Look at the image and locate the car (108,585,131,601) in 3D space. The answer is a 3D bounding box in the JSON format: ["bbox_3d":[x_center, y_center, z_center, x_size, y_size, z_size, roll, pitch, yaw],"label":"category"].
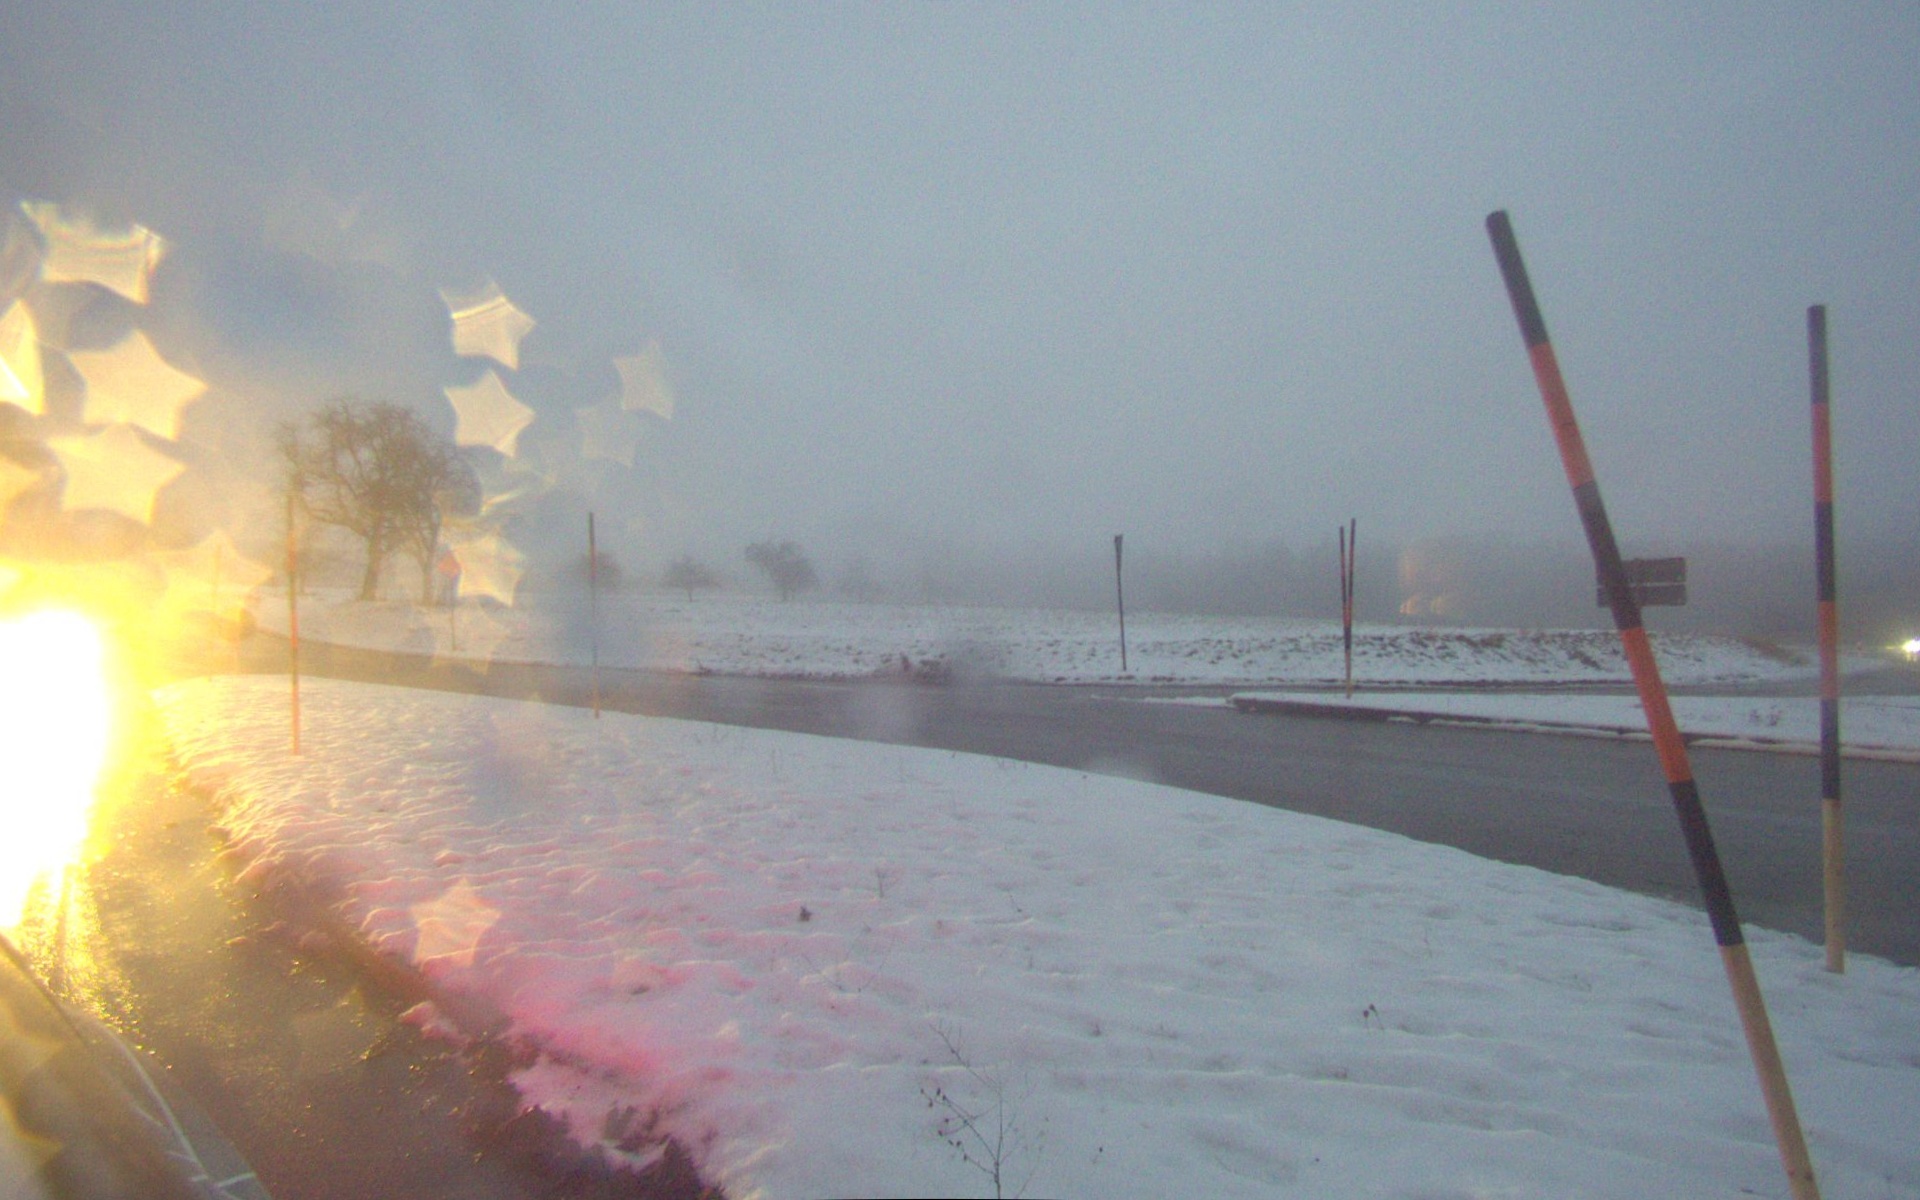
[{"bbox_3d":[-93.879,-0.800,113.030,1.969,1.820,4.006,0,1,-41],"label":"car"}]

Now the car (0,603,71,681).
[{"bbox_3d":[-19.088,0.800,20.397,1.700,1.445,3.681,-1,0,-42],"label":"car"}]

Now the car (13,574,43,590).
[{"bbox_3d":[-108.844,-2.070,118.218,3.995,1.820,1.974,1,1,39],"label":"car"}]
